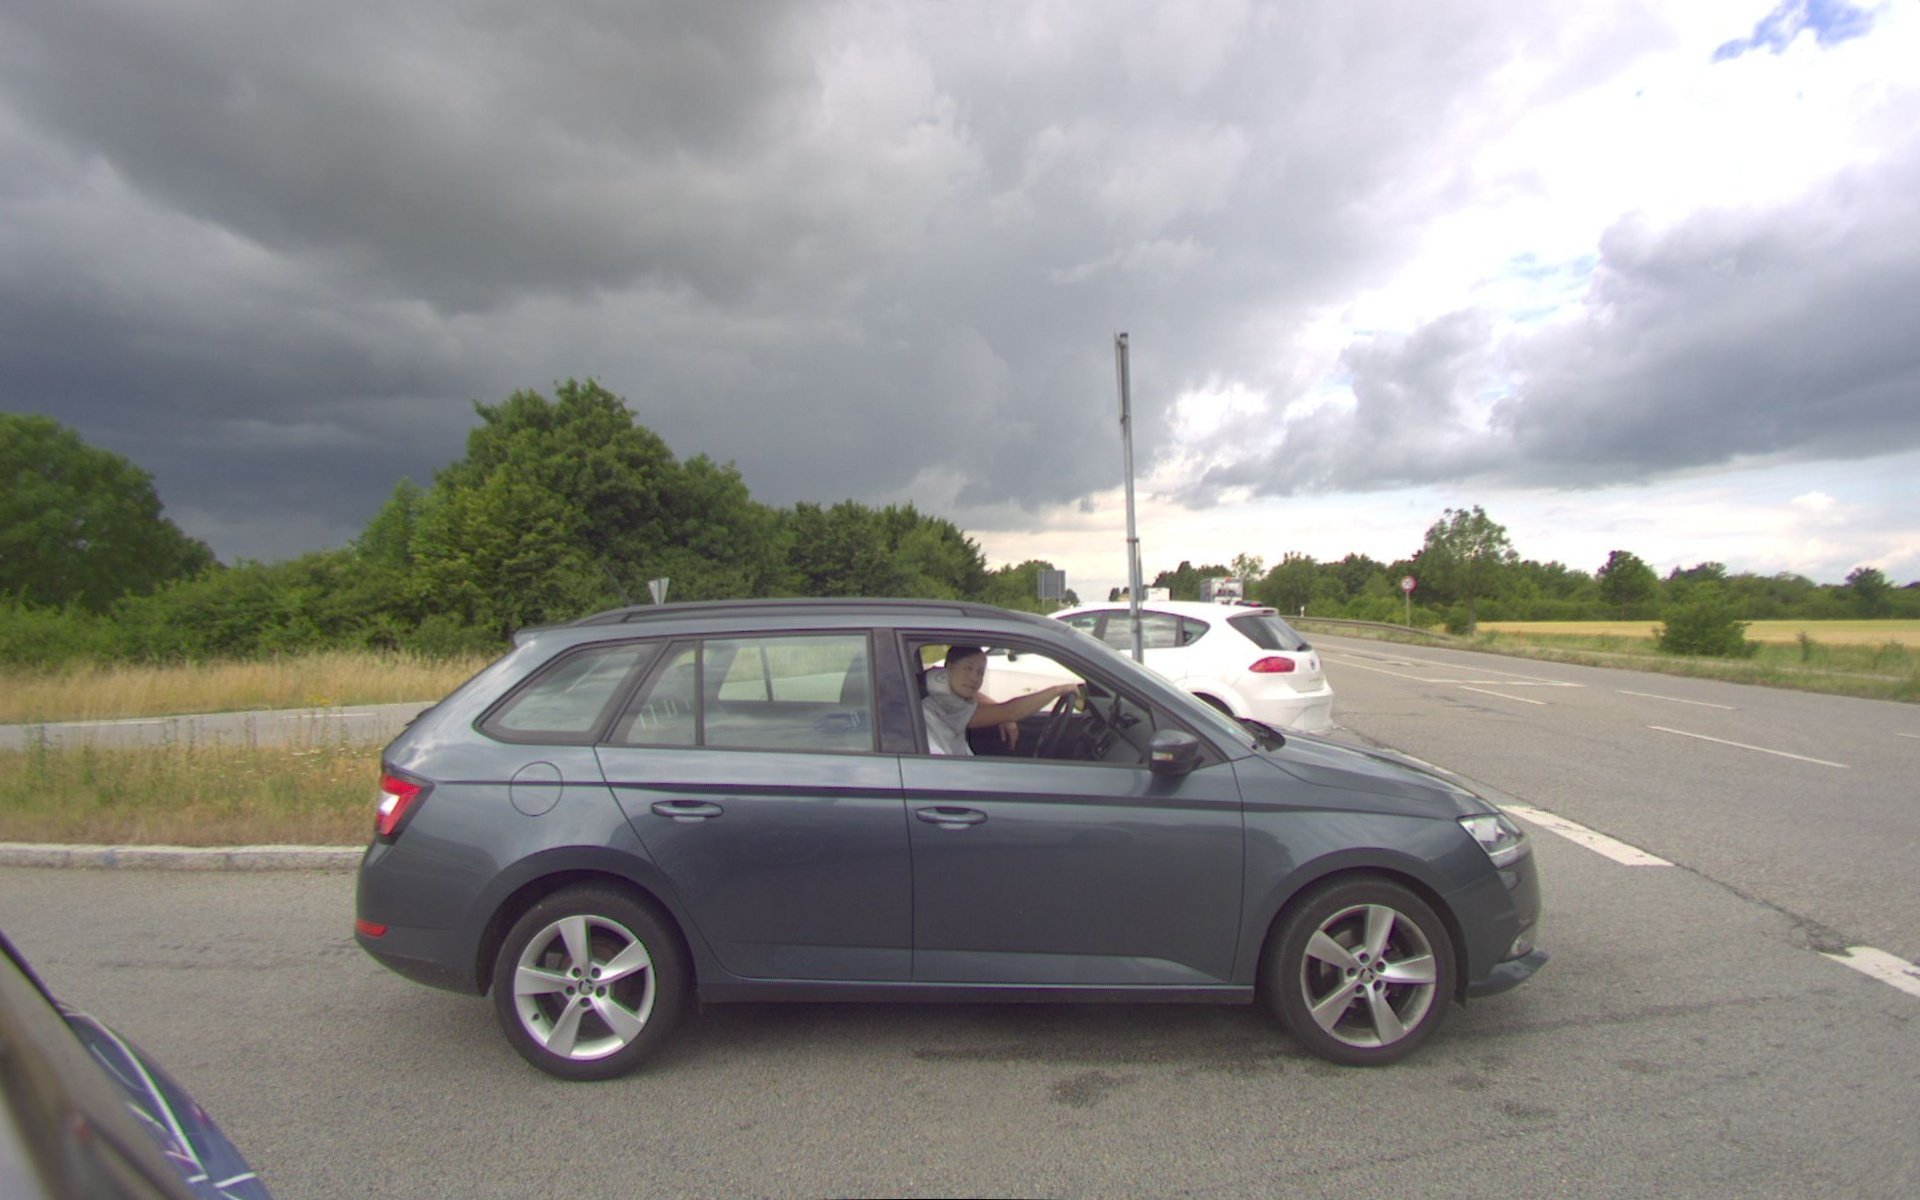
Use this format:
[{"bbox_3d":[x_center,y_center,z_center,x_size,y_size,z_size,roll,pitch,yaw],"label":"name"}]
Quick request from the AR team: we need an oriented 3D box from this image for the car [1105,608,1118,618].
[{"bbox_3d":[24.950,2.171,166.778,1.774,1.564,3.995,-1,-1,4],"label":"car"}]

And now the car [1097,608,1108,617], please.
[{"bbox_3d":[26.192,2.320,186.491,1.774,1.564,3.994,-1,-1,4],"label":"car"}]

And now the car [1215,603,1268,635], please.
[{"bbox_3d":[15.870,1.081,57.201,1.974,1.636,4.256,2,-1,3],"label":"car"}]

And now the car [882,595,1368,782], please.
[{"bbox_3d":[1.434,0.709,9.740,4.308,1.419,1.796,-1,-2,39],"label":"car"}]

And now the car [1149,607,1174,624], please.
[{"bbox_3d":[18.775,1.427,94.484,1.825,1.537,3.994,-1,-1,5],"label":"car"}]

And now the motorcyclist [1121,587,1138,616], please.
[{"bbox_3d":[10.527,0.104,62.827,0.932,1.763,1.199,-1,-1,5],"label":"motorcyclist"}]

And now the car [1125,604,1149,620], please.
[{"bbox_3d":[21.209,1.472,121.573,2.311,1.936,4.868,-1,-1,5],"label":"car"}]

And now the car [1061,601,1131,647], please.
[{"bbox_3d":[4.711,0.802,34.516,1.756,1.462,4.369,-1,-1,16],"label":"car"}]

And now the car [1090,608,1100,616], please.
[{"bbox_3d":[29.363,2.635,220.262,1.774,1.564,3.994,-1,-1,4],"label":"car"}]

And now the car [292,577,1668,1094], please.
[{"bbox_3d":[0.055,0.687,3.858,4.058,1.458,1.719,-1,0,-1],"label":"car"}]

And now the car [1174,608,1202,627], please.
[{"bbox_3d":[19.287,1.506,85.737,1.825,1.537,3.993,-1,-1,5],"label":"car"}]

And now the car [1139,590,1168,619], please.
[{"bbox_3d":[21.267,0.507,111.396,2.311,3.052,6.549,-1,-1,4],"label":"car"}]

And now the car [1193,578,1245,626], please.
[{"bbox_3d":[17.729,0.208,69.520,2.311,3.052,6.548,2,-1,5],"label":"car"}]

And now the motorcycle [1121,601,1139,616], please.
[{"bbox_3d":[10.534,0.542,62.851,0.932,0.896,2.143,-1,-1,5],"label":"motorcycle"}]

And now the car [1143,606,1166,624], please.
[{"bbox_3d":[19.645,1.498,102.312,1.834,1.763,3.994,-1,-1,4],"label":"car"}]
